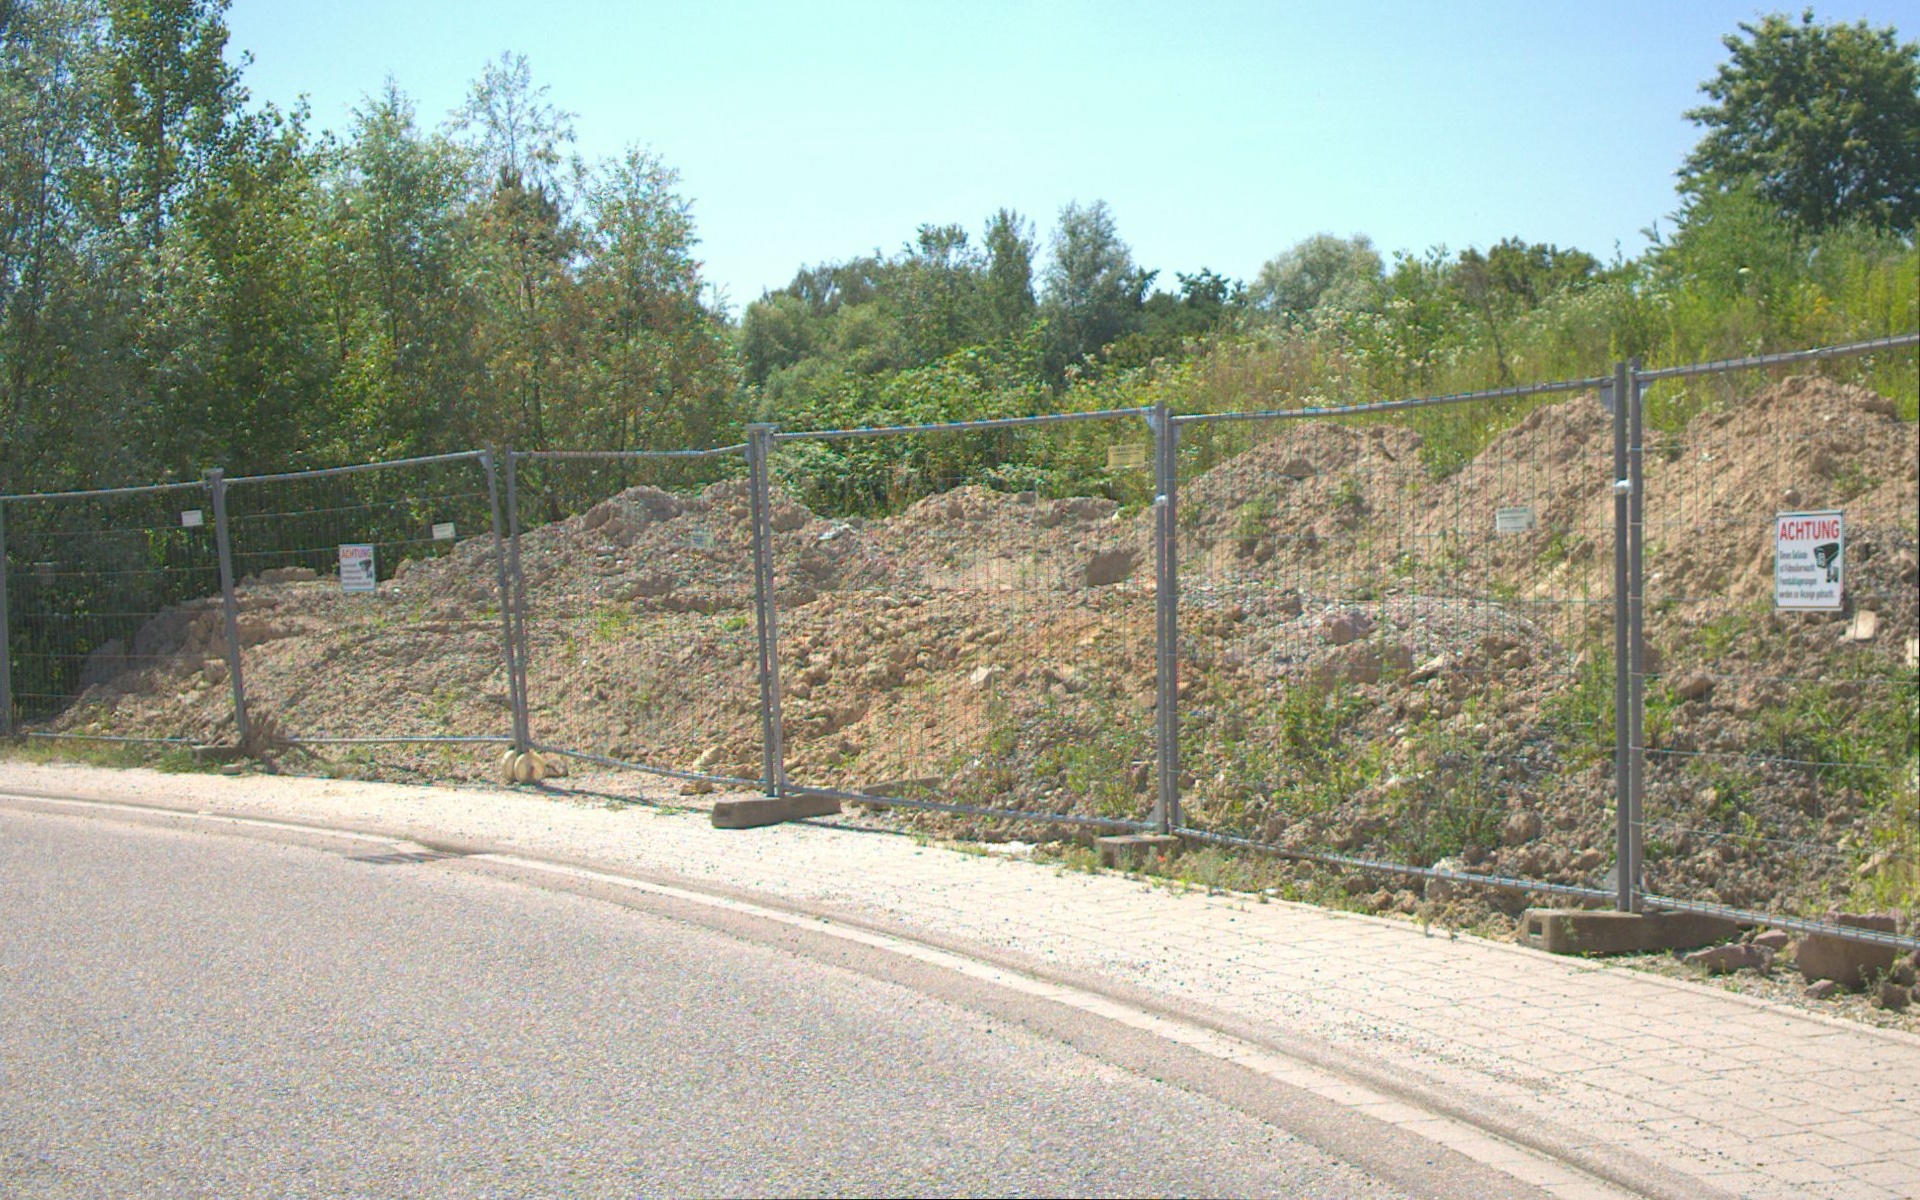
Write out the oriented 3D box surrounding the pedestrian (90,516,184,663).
[{"bbox_3d":[-10.317,-0.138,43.107,0.876,1.818,0.740,-1,2,11],"label":"pedestrian"}]
